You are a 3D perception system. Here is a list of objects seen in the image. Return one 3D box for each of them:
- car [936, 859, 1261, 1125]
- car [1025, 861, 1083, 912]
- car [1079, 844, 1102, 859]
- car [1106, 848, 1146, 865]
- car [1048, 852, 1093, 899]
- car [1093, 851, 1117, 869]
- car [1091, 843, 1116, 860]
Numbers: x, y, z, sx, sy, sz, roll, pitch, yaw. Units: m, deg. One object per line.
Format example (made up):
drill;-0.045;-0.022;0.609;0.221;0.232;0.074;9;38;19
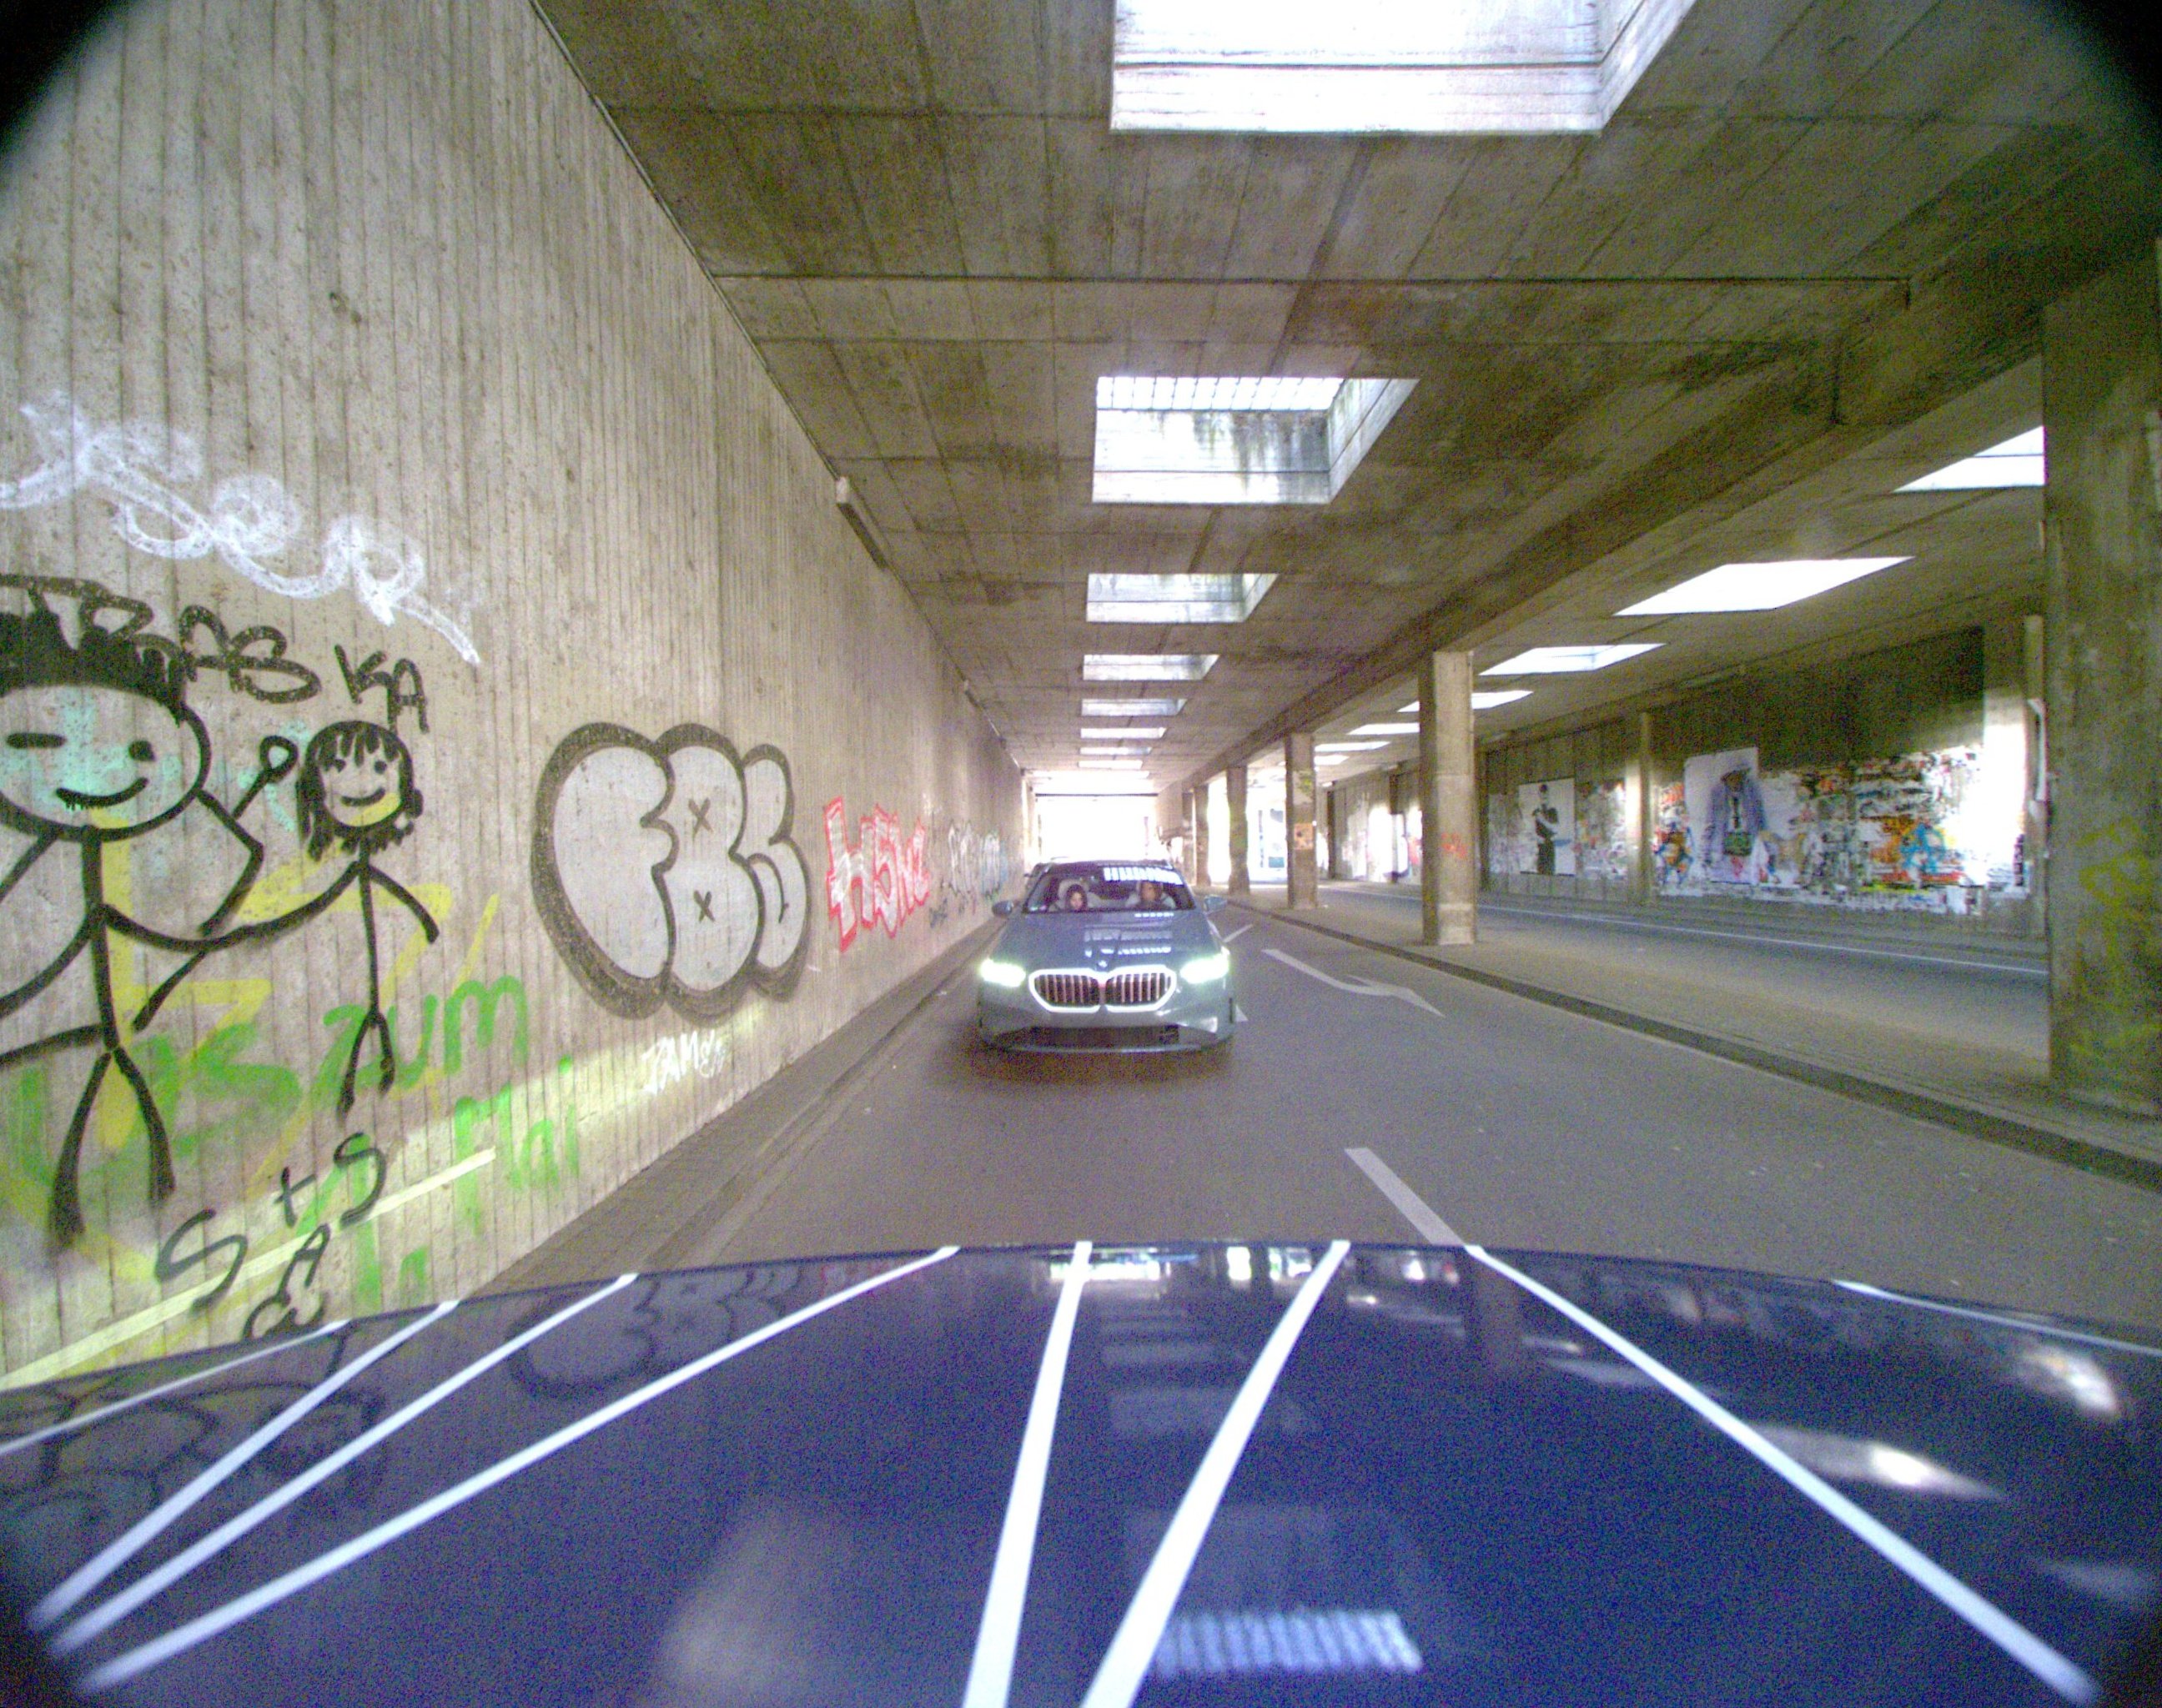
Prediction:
car;0.189;0.885;7.336;1.998;1.594;5.176;-1;0;2
car;-0.785;0.953;23.911;1.593;1.387;3.833;-2;0;1
car;1.219;-0.324;103.562;2.361;2.002;5.146;-1;0;-8
car;4.676;0.220;79.056;3.997;1.696;2.000;-1;0;-1
car;-0.362;0.773;29.917;1.581;1.676;4.078;-2;0;1
car;2.042;0.488;65.606;1.784;1.438;4.177;-1;0;-1
car;2.873;-0.318;97.549;2.361;2.002;5.146;-1;0;-8
